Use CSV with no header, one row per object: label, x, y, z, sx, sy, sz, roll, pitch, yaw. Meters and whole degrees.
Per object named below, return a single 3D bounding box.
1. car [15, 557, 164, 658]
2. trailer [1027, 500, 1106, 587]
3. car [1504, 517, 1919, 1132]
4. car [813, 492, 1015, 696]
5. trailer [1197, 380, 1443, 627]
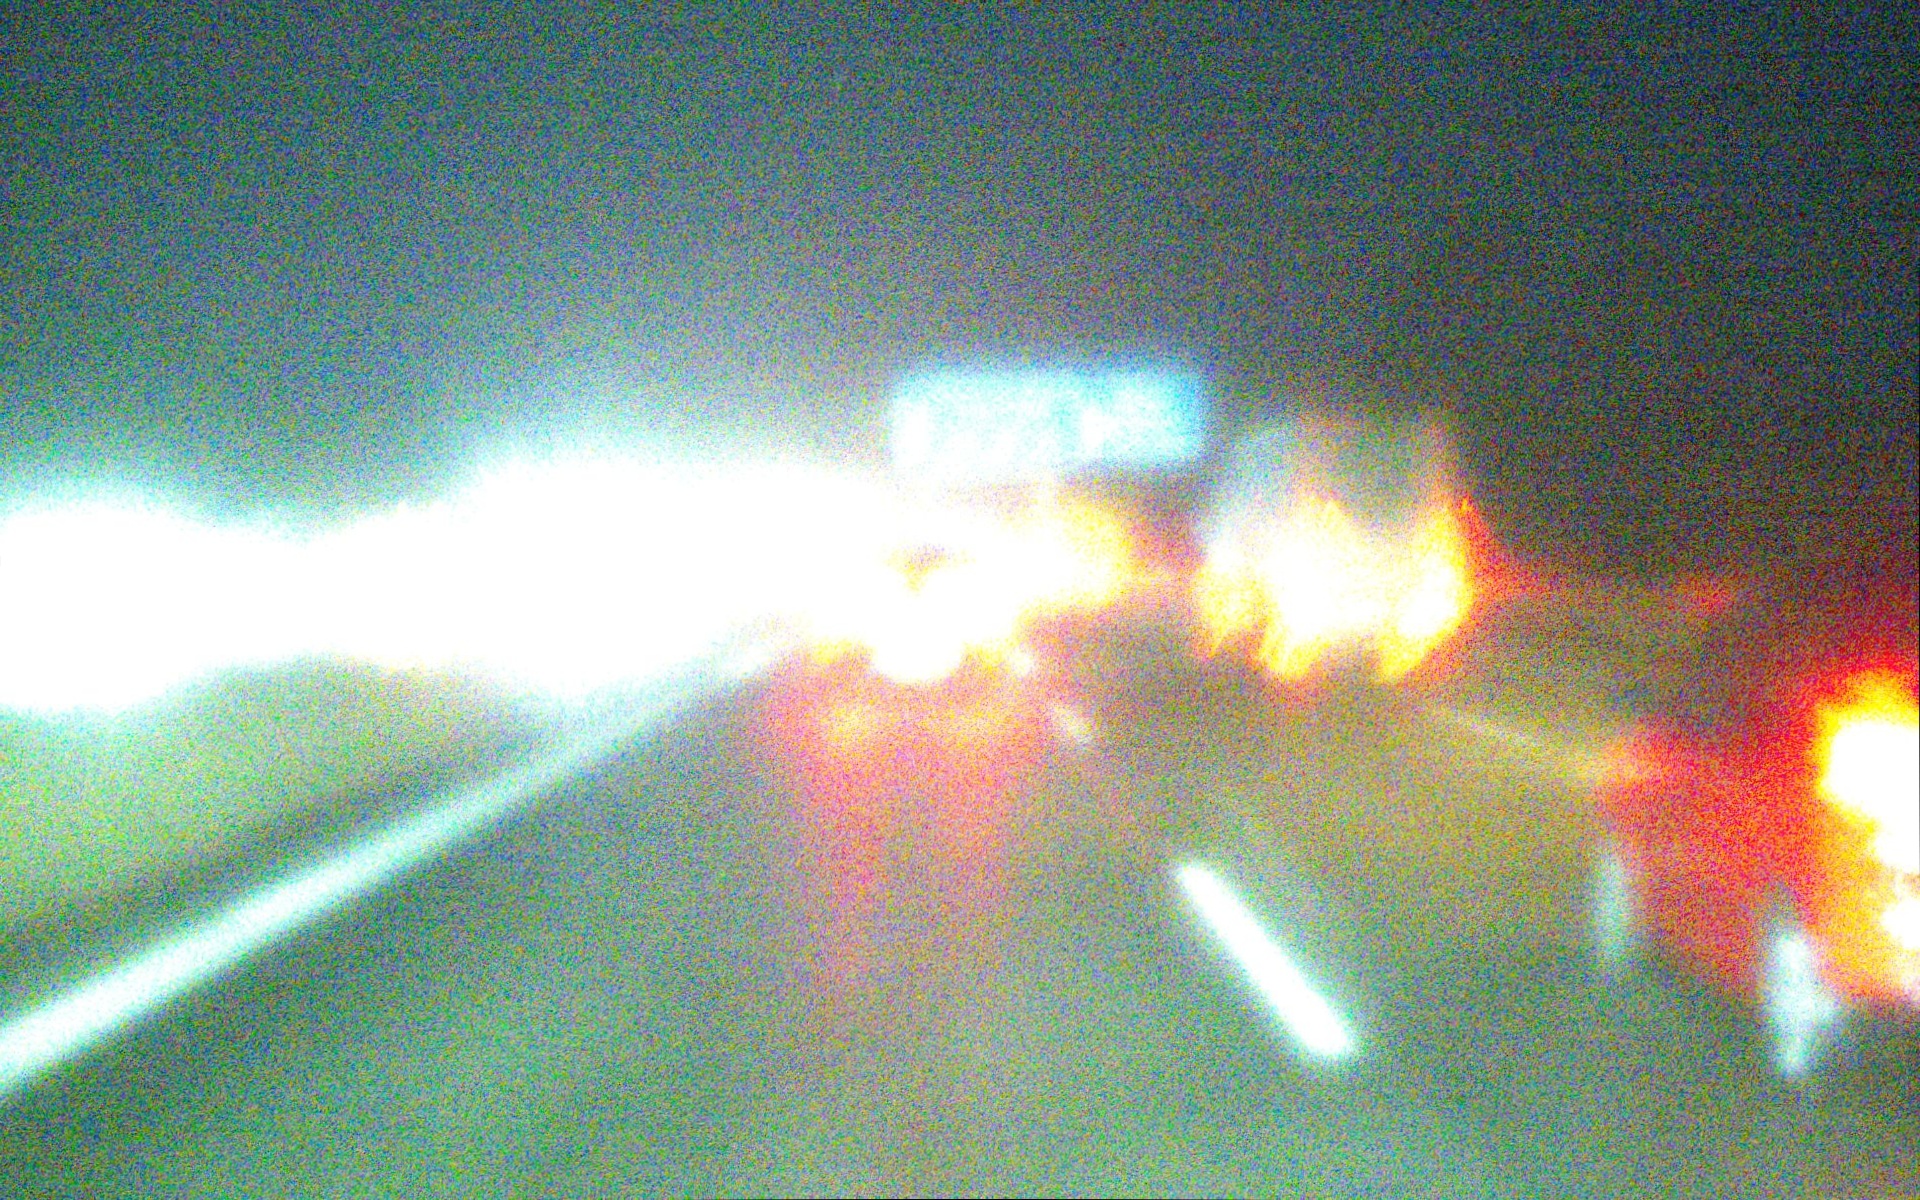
car,-18.162,0.143,71.884,1.993,2.007,4.391,-1,0,0
trailer,5.402,-2.824,177.463,3.041,4.095,13.829,-2,0,-2
car,3.009,0.580,11.044,1.740,1.570,4.494,0,0,-1
car,-0.504,-0.078,36.820,1.993,2.007,4.000,1,0,-1
trailer,6.585,-1.656,65.292,2.903,4.095,14.488,-1,0,-1
